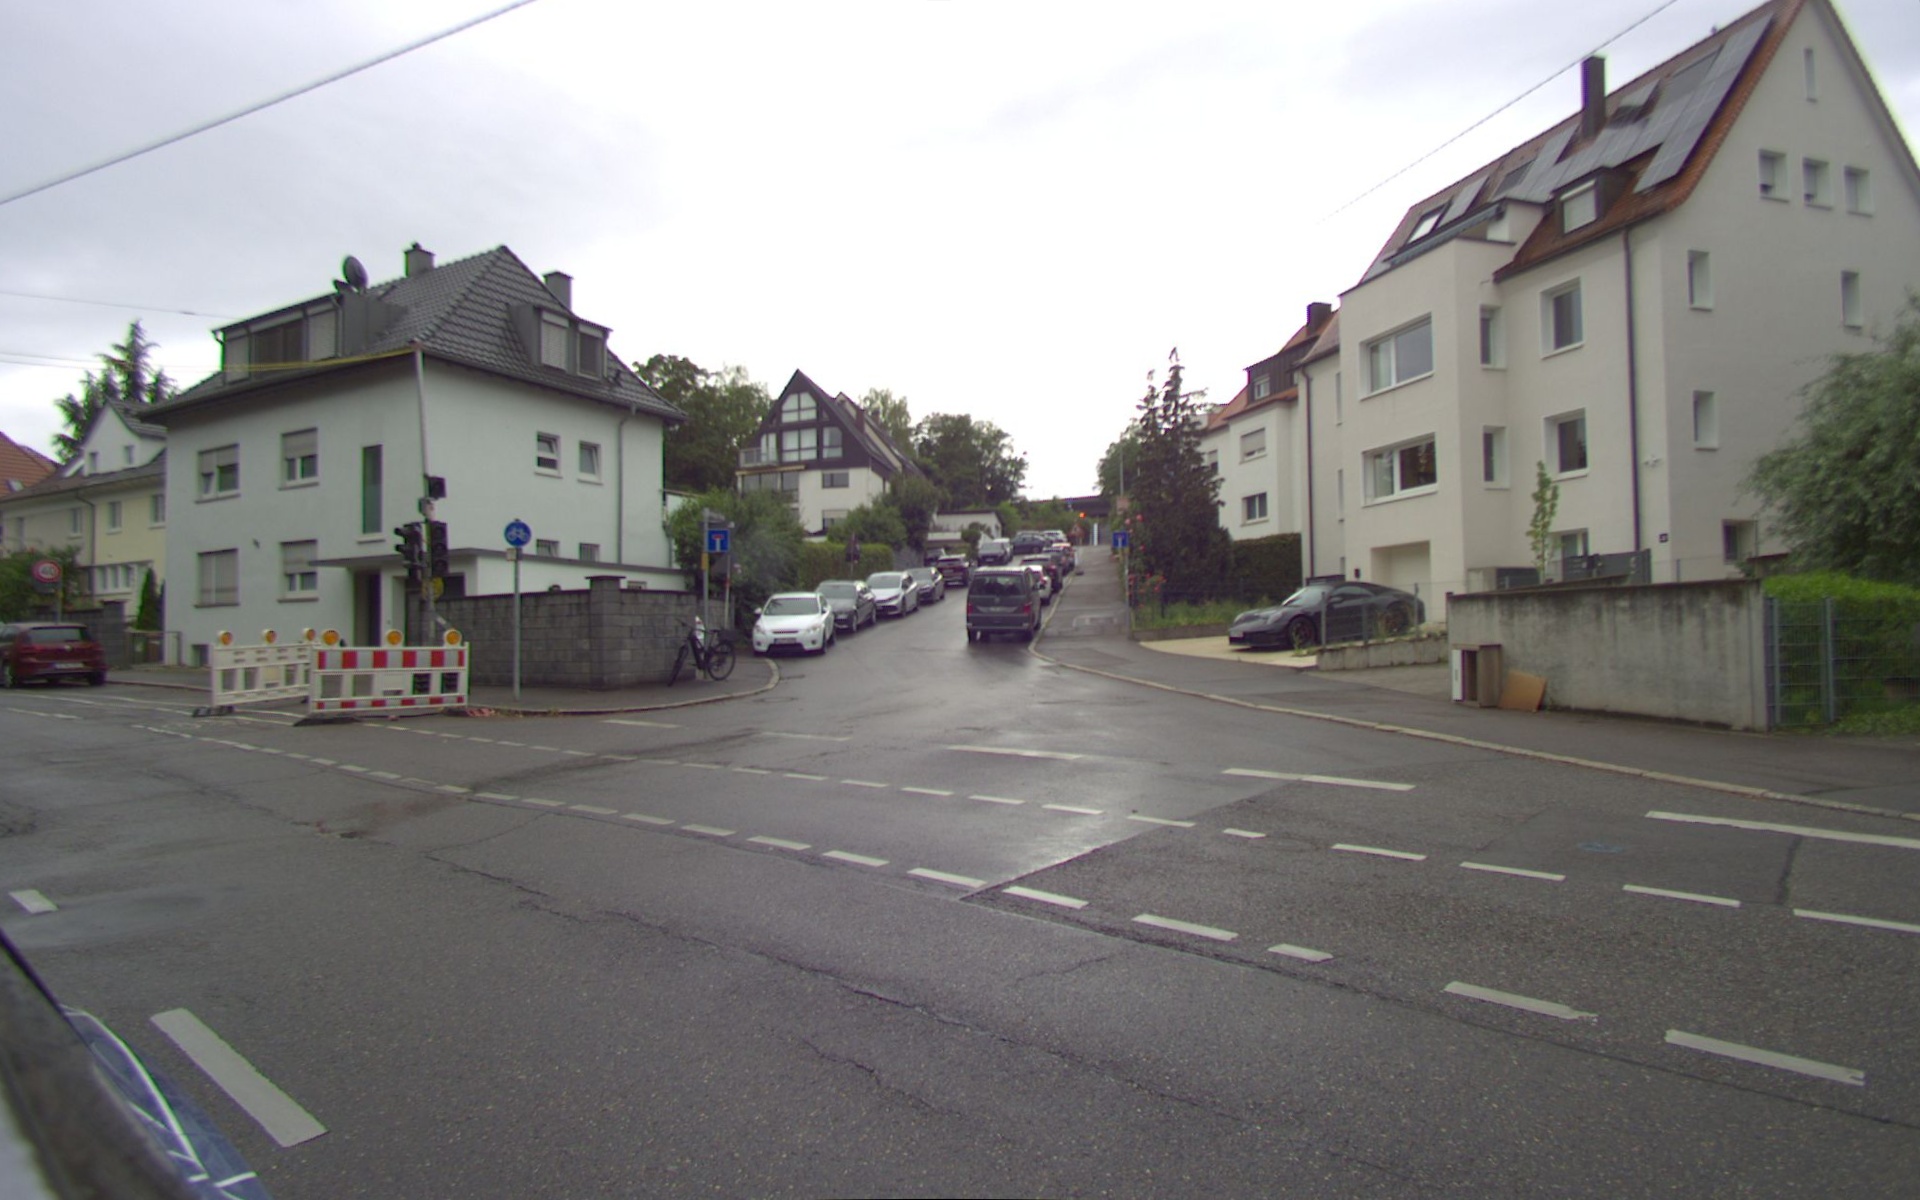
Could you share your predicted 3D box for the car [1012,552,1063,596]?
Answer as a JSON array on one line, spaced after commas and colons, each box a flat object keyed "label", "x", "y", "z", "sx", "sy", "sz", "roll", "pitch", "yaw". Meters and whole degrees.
[{"label": "car", "x": 3.530, "y": -1.191, "z": 45.366, "sx": 1.823, "sy": 1.699, "sz": 4.039, "roll": -1, "pitch": 5, "yaw": 11}]

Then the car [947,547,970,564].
[{"label": "car", "x": -0.073, "y": -3.255, "z": 74.011, "sx": 1.559, "sy": 1.220, "sz": 3.650, "roll": -1, "pitch": 3, "yaw": 2}]

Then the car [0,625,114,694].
[{"label": "car", "x": -21.459, "y": 1.334, "z": 23.372, "sx": 3.833, "sy": 1.443, "sz": 1.768, "roll": -1, "pitch": -1, "yaw": 30}]

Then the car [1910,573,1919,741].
[{"label": "car", "x": 10.614, "y": 0.423, "z": 8.538, "sx": 3.934, "sy": 1.497, "sz": 1.780, "roll": -2, "pitch": -1, "yaw": -12}]

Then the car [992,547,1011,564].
[{"label": "car", "x": 3.067, "y": -3.322, "z": 74.701, "sx": 1.292, "sy": 1.206, "sz": 2.980, "roll": -1, "pitch": 3, "yaw": 5}]

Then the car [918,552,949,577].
[{"label": "car", "x": -1.818, "y": -2.415, "z": 69.783, "sx": 1.793, "sy": 1.566, "sz": 4.009, "roll": -1, "pitch": 0, "yaw": 3}]

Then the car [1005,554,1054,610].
[{"label": "car", "x": 2.829, "y": -0.752, "z": 40.314, "sx": 1.686, "sy": 1.843, "sz": 4.194, "roll": -1, "pitch": 6, "yaw": 7}]

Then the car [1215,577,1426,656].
[{"label": "car", "x": 7.716, "y": 0.334, "z": 21.762, "sx": 3.942, "sy": 1.290, "sz": 1.613, "roll": -5, "pitch": 1, "yaw": -13}]

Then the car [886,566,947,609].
[{"label": "car", "x": -1.797, "y": -0.551, "z": 42.949, "sx": 1.903, "sy": 1.448, "sz": 4.100, "roll": -1, "pitch": 5, "yaw": 7}]

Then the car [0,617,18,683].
[{"label": "car", "x": -26.144, "y": 1.297, "z": 25.764, "sx": 4.131, "sy": 1.653, "sz": 1.782, "roll": -1, "pitch": -1, "yaw": 25}]

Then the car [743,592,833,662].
[{"label": "car", "x": -4.344, "y": 0.625, "z": 26.146, "sx": 1.827, "sy": 1.473, "sz": 4.124, "roll": -1, "pitch": 3, "yaw": -3}]

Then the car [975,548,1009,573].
[{"label": "car", "x": 2.205, "y": -2.666, "z": 68.876, "sx": 1.770, "sy": 1.531, "sz": 4.016, "roll": -1, "pitch": 0, "yaw": 9}]

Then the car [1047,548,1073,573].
[{"label": "car", "x": 6.247, "y": -2.444, "z": 62.838, "sx": 1.488, "sy": 1.373, "sz": 3.465, "roll": -1, "pitch": 0, "yaw": 8}]

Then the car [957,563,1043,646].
[{"label": "car", "x": 1.252, "y": 0.051, "z": 29.315, "sx": 1.978, "sy": 2.028, "sz": 4.482, "roll": -1, "pitch": 4, "yaw": 9}]

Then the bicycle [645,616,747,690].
[{"label": "bicycle", "x": -4.776, "y": 0.932, "z": 18.447, "sx": 0.508, "sy": 1.249, "sz": 1.984, "roll": 1, "pitch": 0, "yaw": 32}]

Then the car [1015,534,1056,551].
[{"label": "car", "x": 7.400, "y": -5.583, "z": 98.779, "sx": 3.922, "sy": 1.528, "sz": 1.748, "roll": -1, "pitch": 0, "yaw": 6}]

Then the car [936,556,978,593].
[{"label": "car", "x": -0.105, "y": -1.360, "z": 52.455, "sx": 1.623, "sy": 1.637, "sz": 3.992, "roll": -1, "pitch": 5, "yaw": 8}]

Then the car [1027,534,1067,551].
[{"label": "car", "x": 8.948, "y": -5.893, "z": 103.905, "sx": 3.782, "sy": 1.529, "sz": 1.664, "roll": -1, "pitch": -1, "yaw": 15}]

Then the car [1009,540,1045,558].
[{"label": "car", "x": 5.562, "y": -4.193, "z": 83.644, "sx": 2.914, "sy": 1.328, "sz": 1.282, "roll": -1, "pitch": 0, "yaw": 4}]

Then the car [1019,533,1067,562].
[{"label": "car", "x": 7.211, "y": -4.557, "z": 87.633, "sx": 3.954, "sy": 2.028, "sz": 1.995, "roll": -5, "pitch": -1, "yaw": 8}]

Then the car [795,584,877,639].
[{"label": "car", "x": -3.818, "y": 0.320, "z": 31.808, "sx": 1.702, "sy": 1.397, "sz": 3.900, "roll": -1, "pitch": 4, "yaw": 6}]

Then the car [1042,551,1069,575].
[{"label": "car", "x": 5.512, "y": -2.140, "z": 58.101, "sx": 1.274, "sy": 1.325, "sz": 2.984, "roll": -1, "pitch": 3, "yaw": 10}]

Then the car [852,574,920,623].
[{"label": "car", "x": -2.648, "y": -0.083, "z": 37.077, "sx": 1.738, "sy": 1.481, "sz": 3.940, "roll": -1, "pitch": 4, "yaw": 6}]
